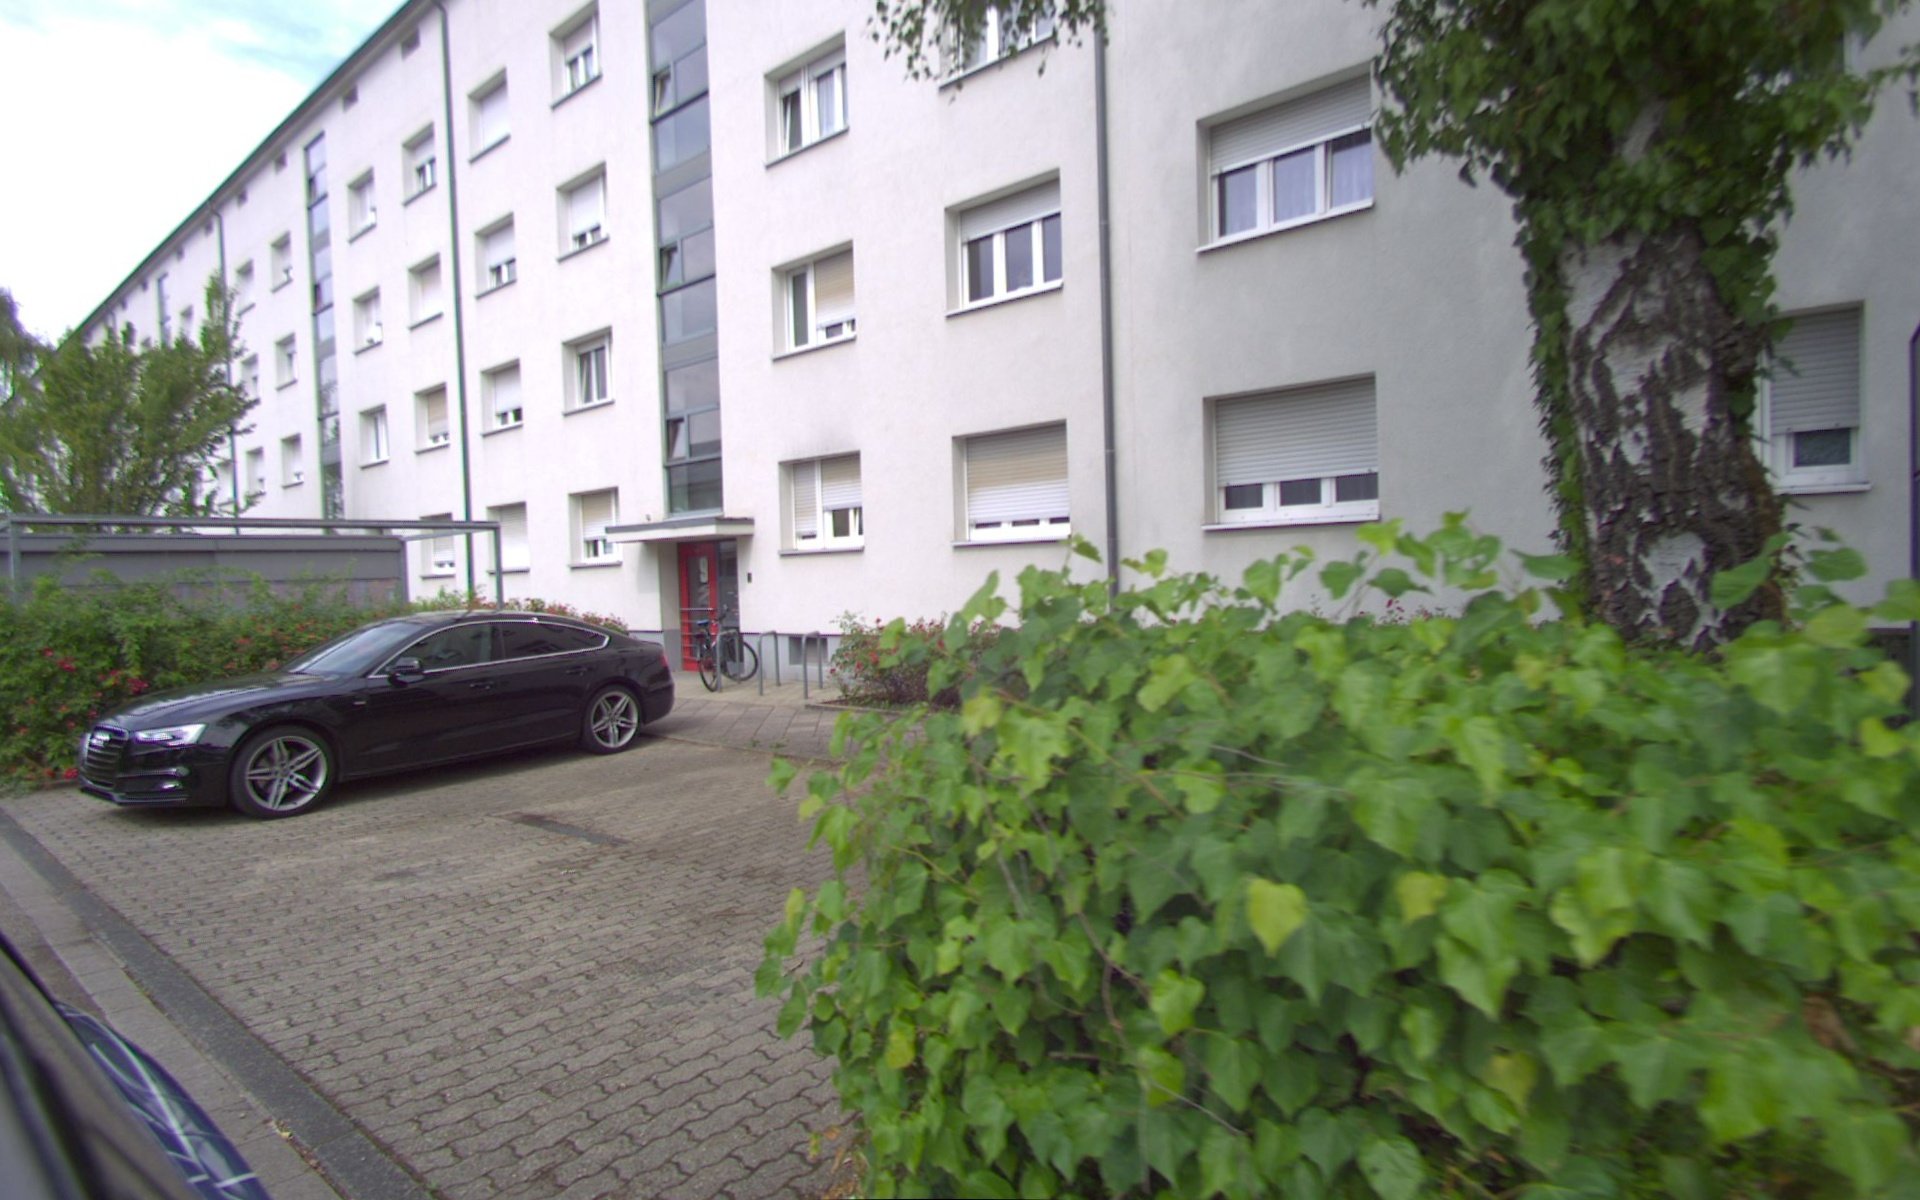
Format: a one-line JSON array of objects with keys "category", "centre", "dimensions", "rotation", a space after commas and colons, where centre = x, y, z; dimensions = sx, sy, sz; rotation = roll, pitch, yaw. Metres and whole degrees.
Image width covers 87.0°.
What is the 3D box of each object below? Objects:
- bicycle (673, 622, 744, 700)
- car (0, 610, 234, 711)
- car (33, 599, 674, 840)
[{"category": "bicycle", "centre": [-3.425, 0.812, 13.881], "dimensions": [0.390, 0.964, 1.383], "rotation": [-2, 1, 10]}, {"category": "car", "centre": [-14.940, 0.976, 17.488], "dimensions": [1.707, 1.492, 3.530], "rotation": [-1, 0, 36]}, {"category": "car", "centre": [-4.808, 0.762, 8.662], "dimensions": [1.918, 1.386, 4.288], "rotation": [-1, 1, 34]}]
